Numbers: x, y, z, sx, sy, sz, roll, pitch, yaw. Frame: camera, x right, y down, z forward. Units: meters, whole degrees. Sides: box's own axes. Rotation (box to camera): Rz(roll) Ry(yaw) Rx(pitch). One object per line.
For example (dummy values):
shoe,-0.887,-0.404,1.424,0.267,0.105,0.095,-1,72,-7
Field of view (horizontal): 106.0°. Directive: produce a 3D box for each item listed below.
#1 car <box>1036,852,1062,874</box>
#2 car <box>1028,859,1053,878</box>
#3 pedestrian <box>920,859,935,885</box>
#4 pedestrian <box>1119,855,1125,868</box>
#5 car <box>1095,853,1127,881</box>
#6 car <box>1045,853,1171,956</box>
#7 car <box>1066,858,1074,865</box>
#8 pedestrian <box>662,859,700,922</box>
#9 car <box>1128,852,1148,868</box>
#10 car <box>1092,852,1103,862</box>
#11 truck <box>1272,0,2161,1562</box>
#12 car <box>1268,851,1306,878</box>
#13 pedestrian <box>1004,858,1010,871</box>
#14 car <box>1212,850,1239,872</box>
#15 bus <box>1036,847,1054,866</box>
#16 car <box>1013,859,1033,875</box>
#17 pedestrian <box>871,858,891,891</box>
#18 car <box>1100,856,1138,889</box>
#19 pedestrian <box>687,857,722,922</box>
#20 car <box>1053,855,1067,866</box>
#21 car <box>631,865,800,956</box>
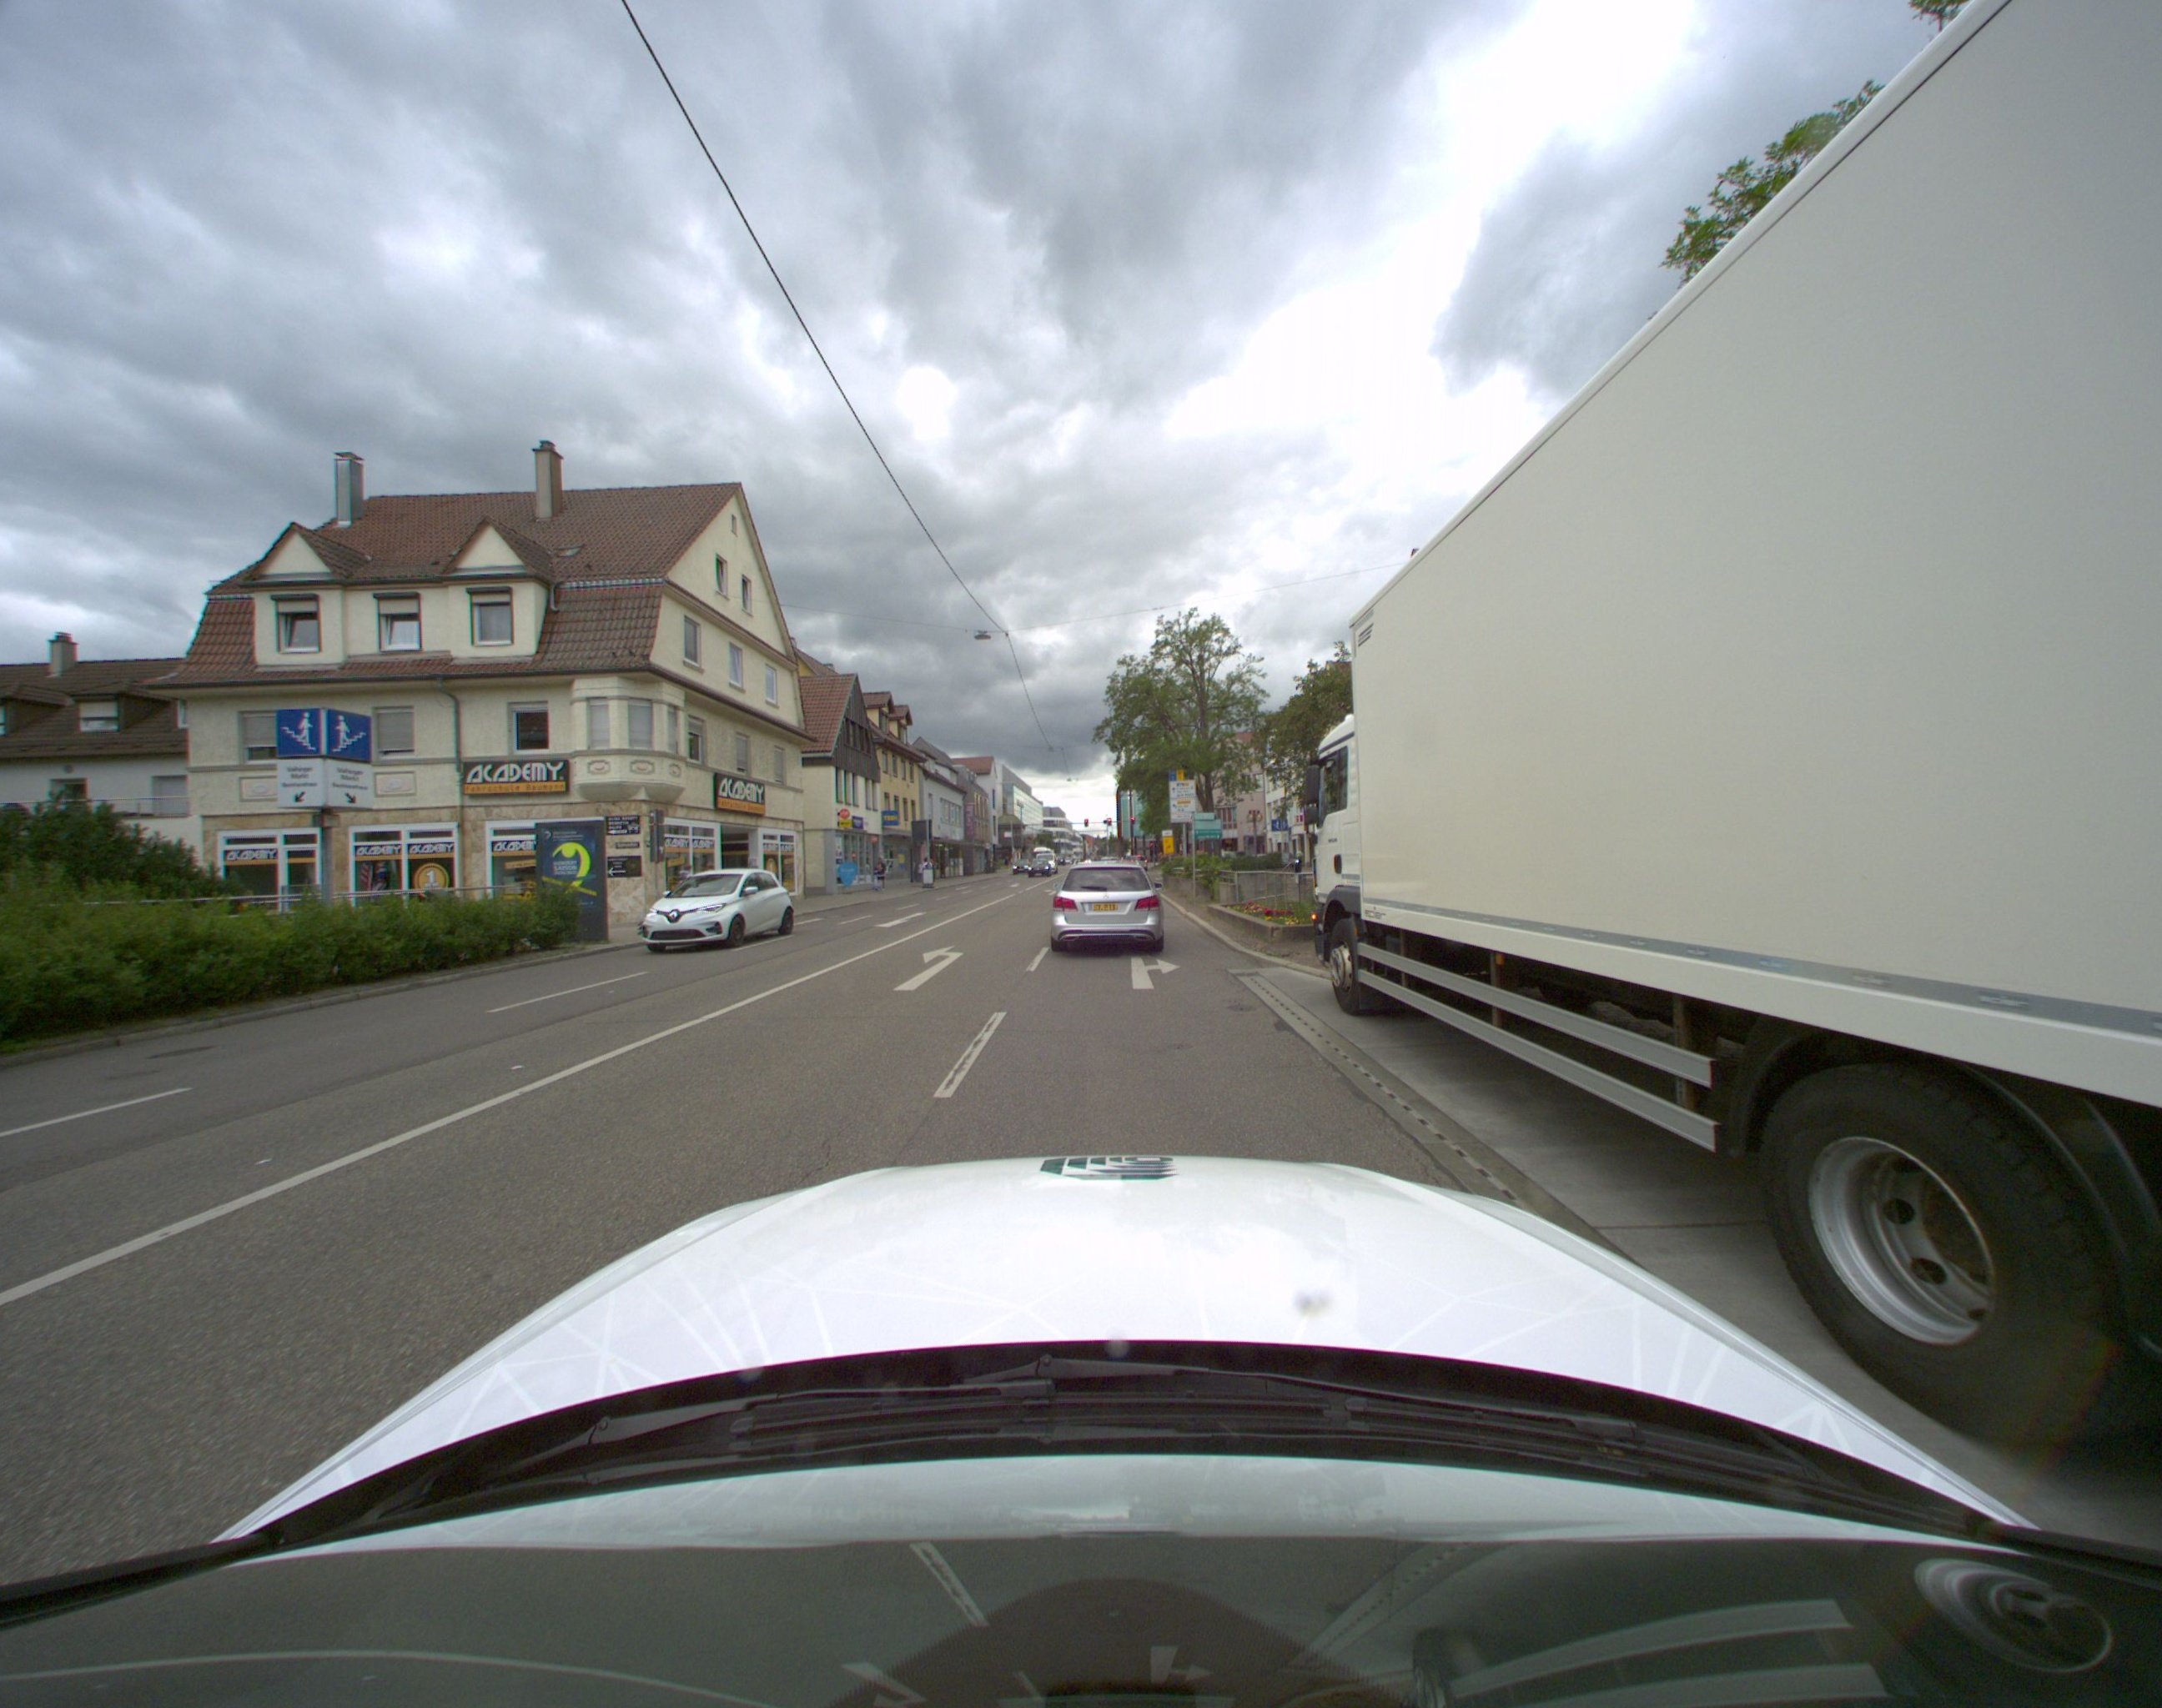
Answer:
car,-2.976,0.831,76.707,1.954,1.960,5.142,-3,0,2
car,-3.302,1.196,66.730,1.610,1.428,3.925,-3,0,3
pedestrian,-9.770,1.150,51.949,0.815,1.634,0.979,0,0,-4
pedestrian,5.246,0.939,104.993,0.612,1.634,0.586,1,0,-7
car,1.987,0.841,53.635,1.986,1.684,4.002,-2,0,2
car,0.410,0.768,14.232,1.868,1.506,3.999,-1,0,0
car,-2.276,1.569,171.315,1.568,1.244,3.608,-2,0,2
pedestrian,-11.573,1.049,23.581,0.685,1.761,0.681,-3,-1,1
car,6.236,0.622,89.275,1.986,1.684,4.002,-2,0,2
car,3.421,0.597,167.579,1.986,2.013,4.001,-2,0,1
truck,3.442,-0.460,4.408,2.678,3.561,9.770,-2,0,2
car,15.165,0.759,60.104,1.859,1.864,4.002,-2,0,2
pedestrian,-9.447,1.344,103.851,0.584,1.634,0.615,1,0,-1
car,12.922,0.645,72.968,1.859,1.864,4.002,-2,0,2
bus,-6.400,0.471,145.970,2.764,3.165,5.936,-2,0,2
car,-5.943,1.293,83.744,1.611,1.523,3.509,-3,0,2
pedestrian,-10.877,1.122,44.319,0.865,1.746,0.805,1,0,-3
car,1.883,0.894,40.595,1.748,1.521,4.001,-2,-1,2
pedestrian,-10.853,1.007,23.488,0.631,1.824,0.681,-3,-1,1
car,-3.711,1.149,144.607,1.986,2.013,4.002,-2,0,2
car,-7.413,1.066,16.960,1.634,1.568,3.927,-3,-1,1
